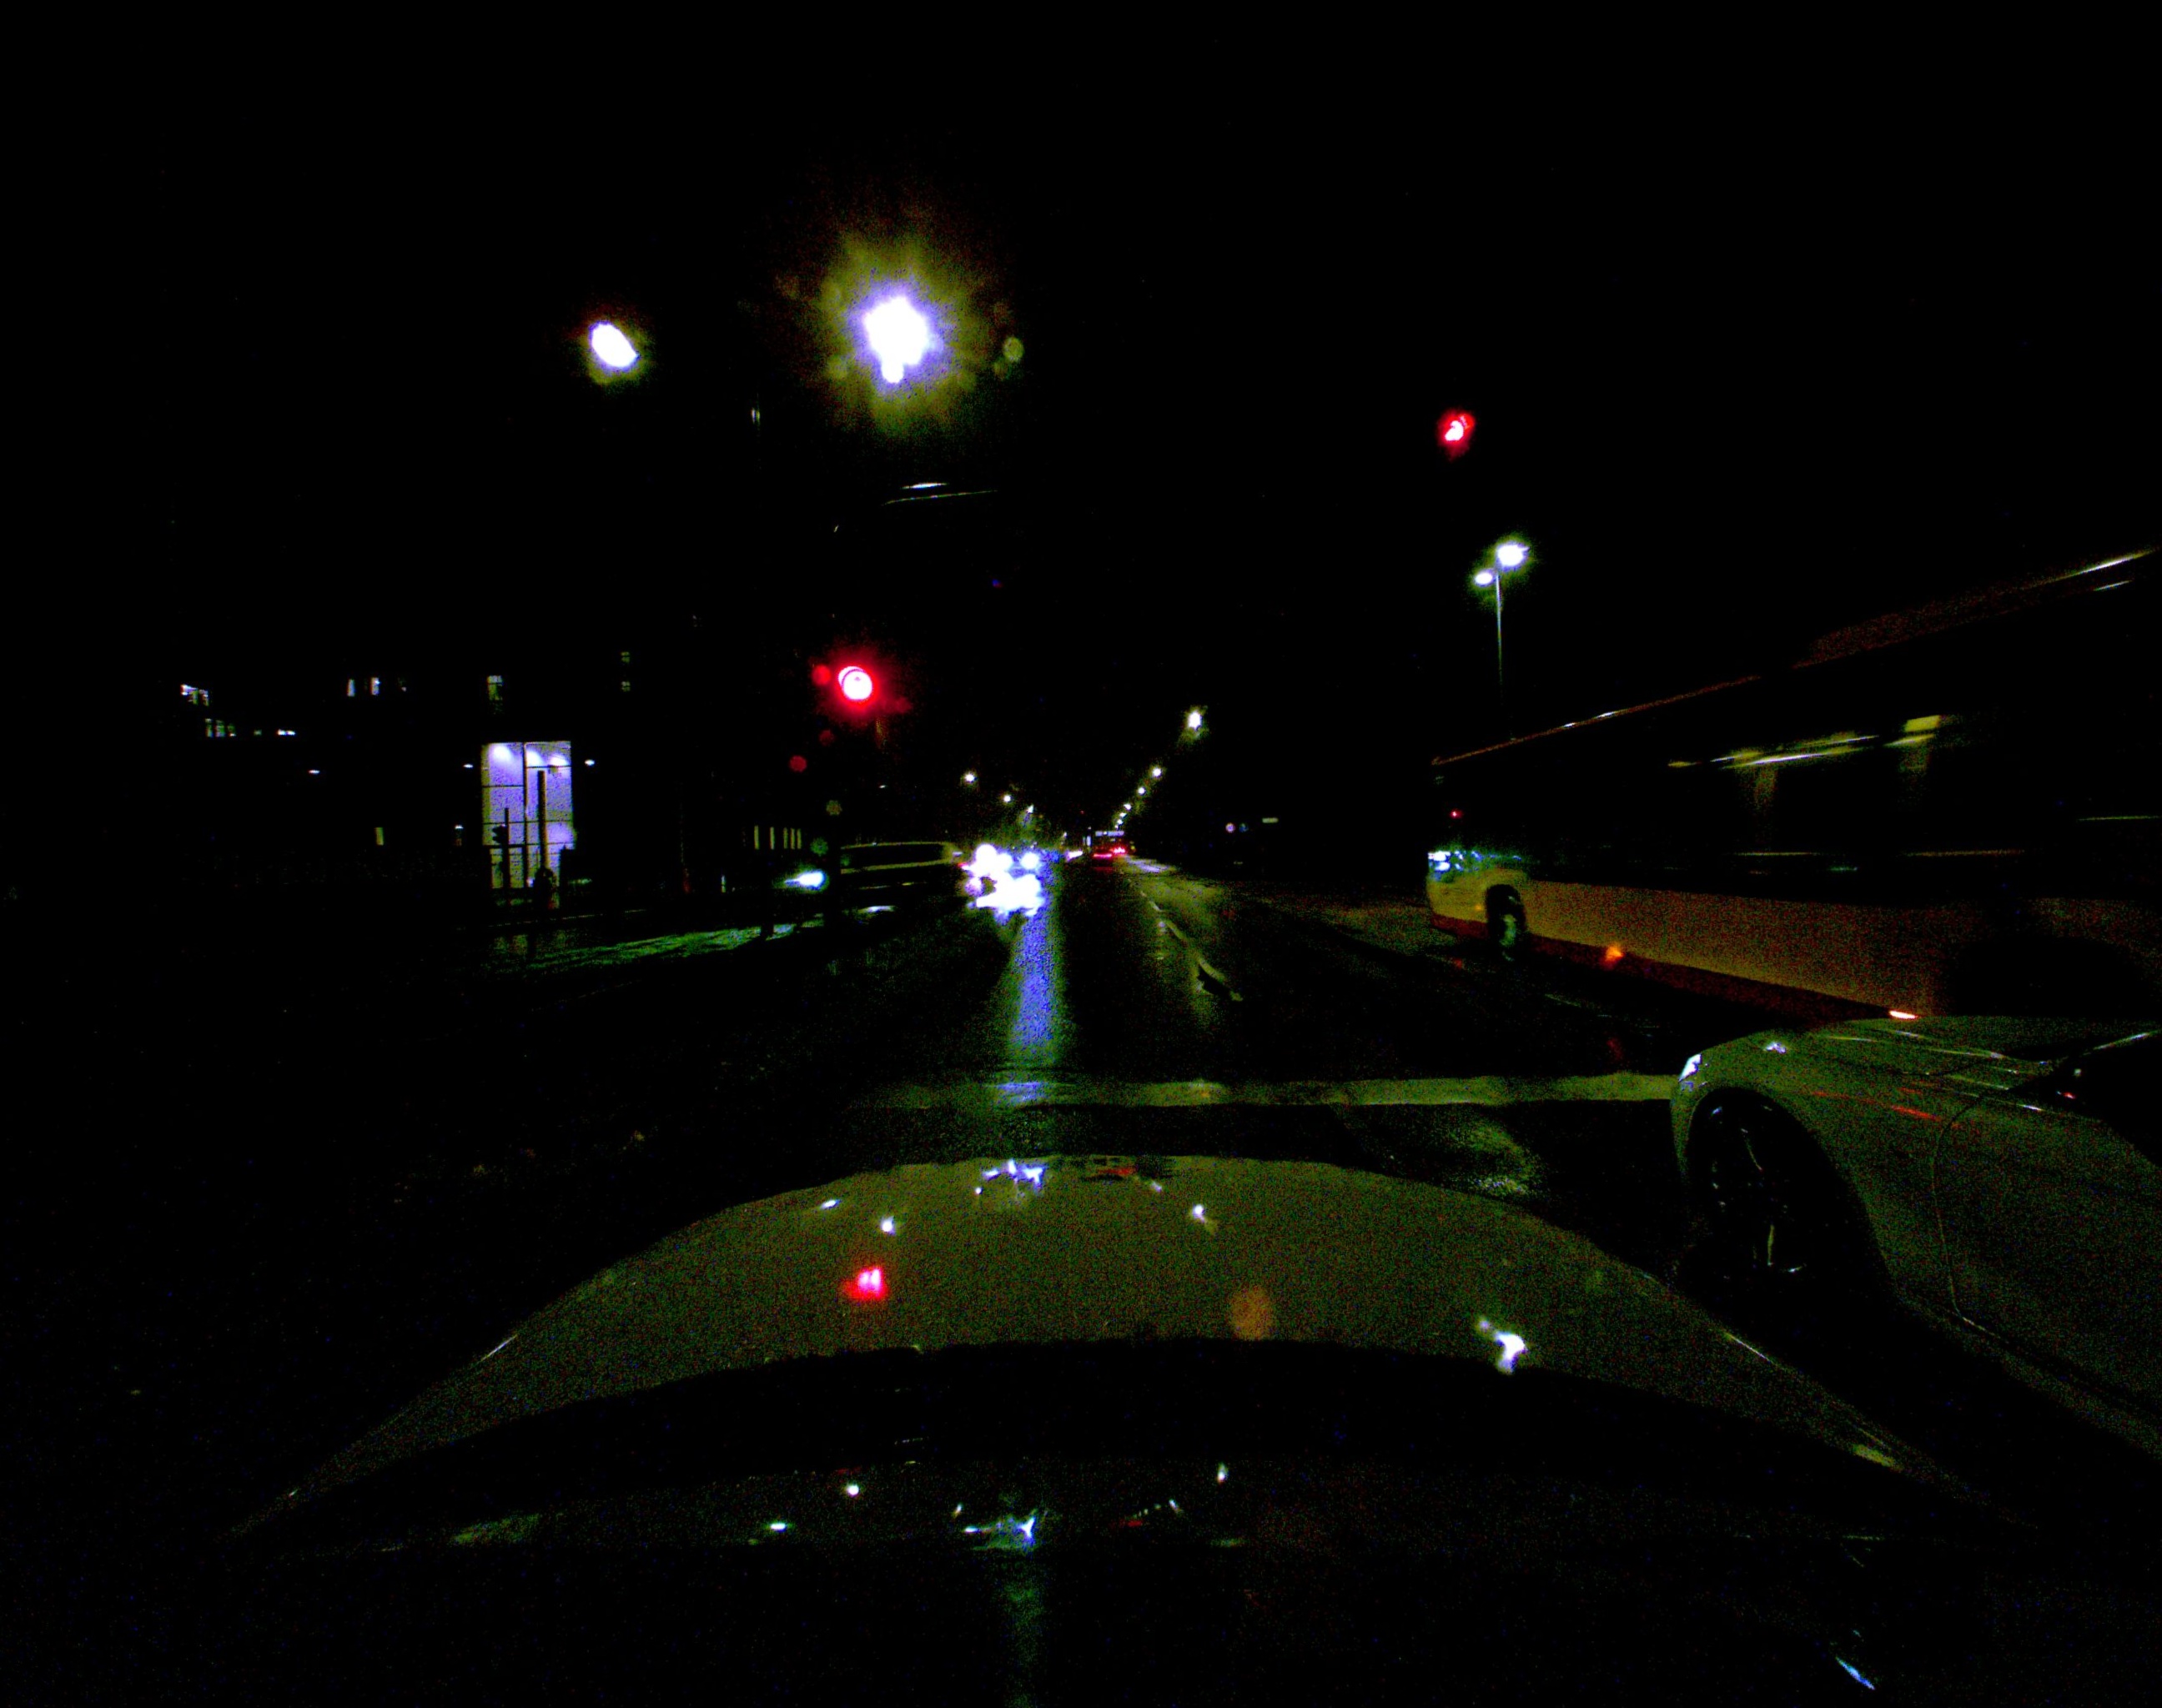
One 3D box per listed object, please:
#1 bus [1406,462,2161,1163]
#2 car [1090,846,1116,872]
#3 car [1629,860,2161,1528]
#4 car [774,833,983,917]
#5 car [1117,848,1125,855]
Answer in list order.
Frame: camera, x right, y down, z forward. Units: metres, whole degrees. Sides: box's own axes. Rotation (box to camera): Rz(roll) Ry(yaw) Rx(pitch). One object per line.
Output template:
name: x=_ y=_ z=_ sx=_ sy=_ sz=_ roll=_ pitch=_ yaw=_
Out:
bus: x=6.408 y=-0.214 z=8.214 sx=2.758 sy=3.123 sz=9.768 roll=-1 pitch=0 yaw=3
car: x=1.907 y=0.456 z=71.212 sx=2.128 sy=2.145 sz=4.928 roll=0 pitch=-1 yaw=0
car: x=3.129 y=0.718 z=1.283 sx=1.710 sy=1.404 sz=4.351 roll=0 pitch=-1 yaw=2
car: x=-5.380 y=0.482 z=22.151 sx=5.138 sy=1.984 sz=1.976 roll=-2 pitch=0 yaw=-42
car: x=10.722 y=-0.691 z=217.843 sx=1.986 sy=1.759 sz=4.001 roll=0 pitch=-1 yaw=2
